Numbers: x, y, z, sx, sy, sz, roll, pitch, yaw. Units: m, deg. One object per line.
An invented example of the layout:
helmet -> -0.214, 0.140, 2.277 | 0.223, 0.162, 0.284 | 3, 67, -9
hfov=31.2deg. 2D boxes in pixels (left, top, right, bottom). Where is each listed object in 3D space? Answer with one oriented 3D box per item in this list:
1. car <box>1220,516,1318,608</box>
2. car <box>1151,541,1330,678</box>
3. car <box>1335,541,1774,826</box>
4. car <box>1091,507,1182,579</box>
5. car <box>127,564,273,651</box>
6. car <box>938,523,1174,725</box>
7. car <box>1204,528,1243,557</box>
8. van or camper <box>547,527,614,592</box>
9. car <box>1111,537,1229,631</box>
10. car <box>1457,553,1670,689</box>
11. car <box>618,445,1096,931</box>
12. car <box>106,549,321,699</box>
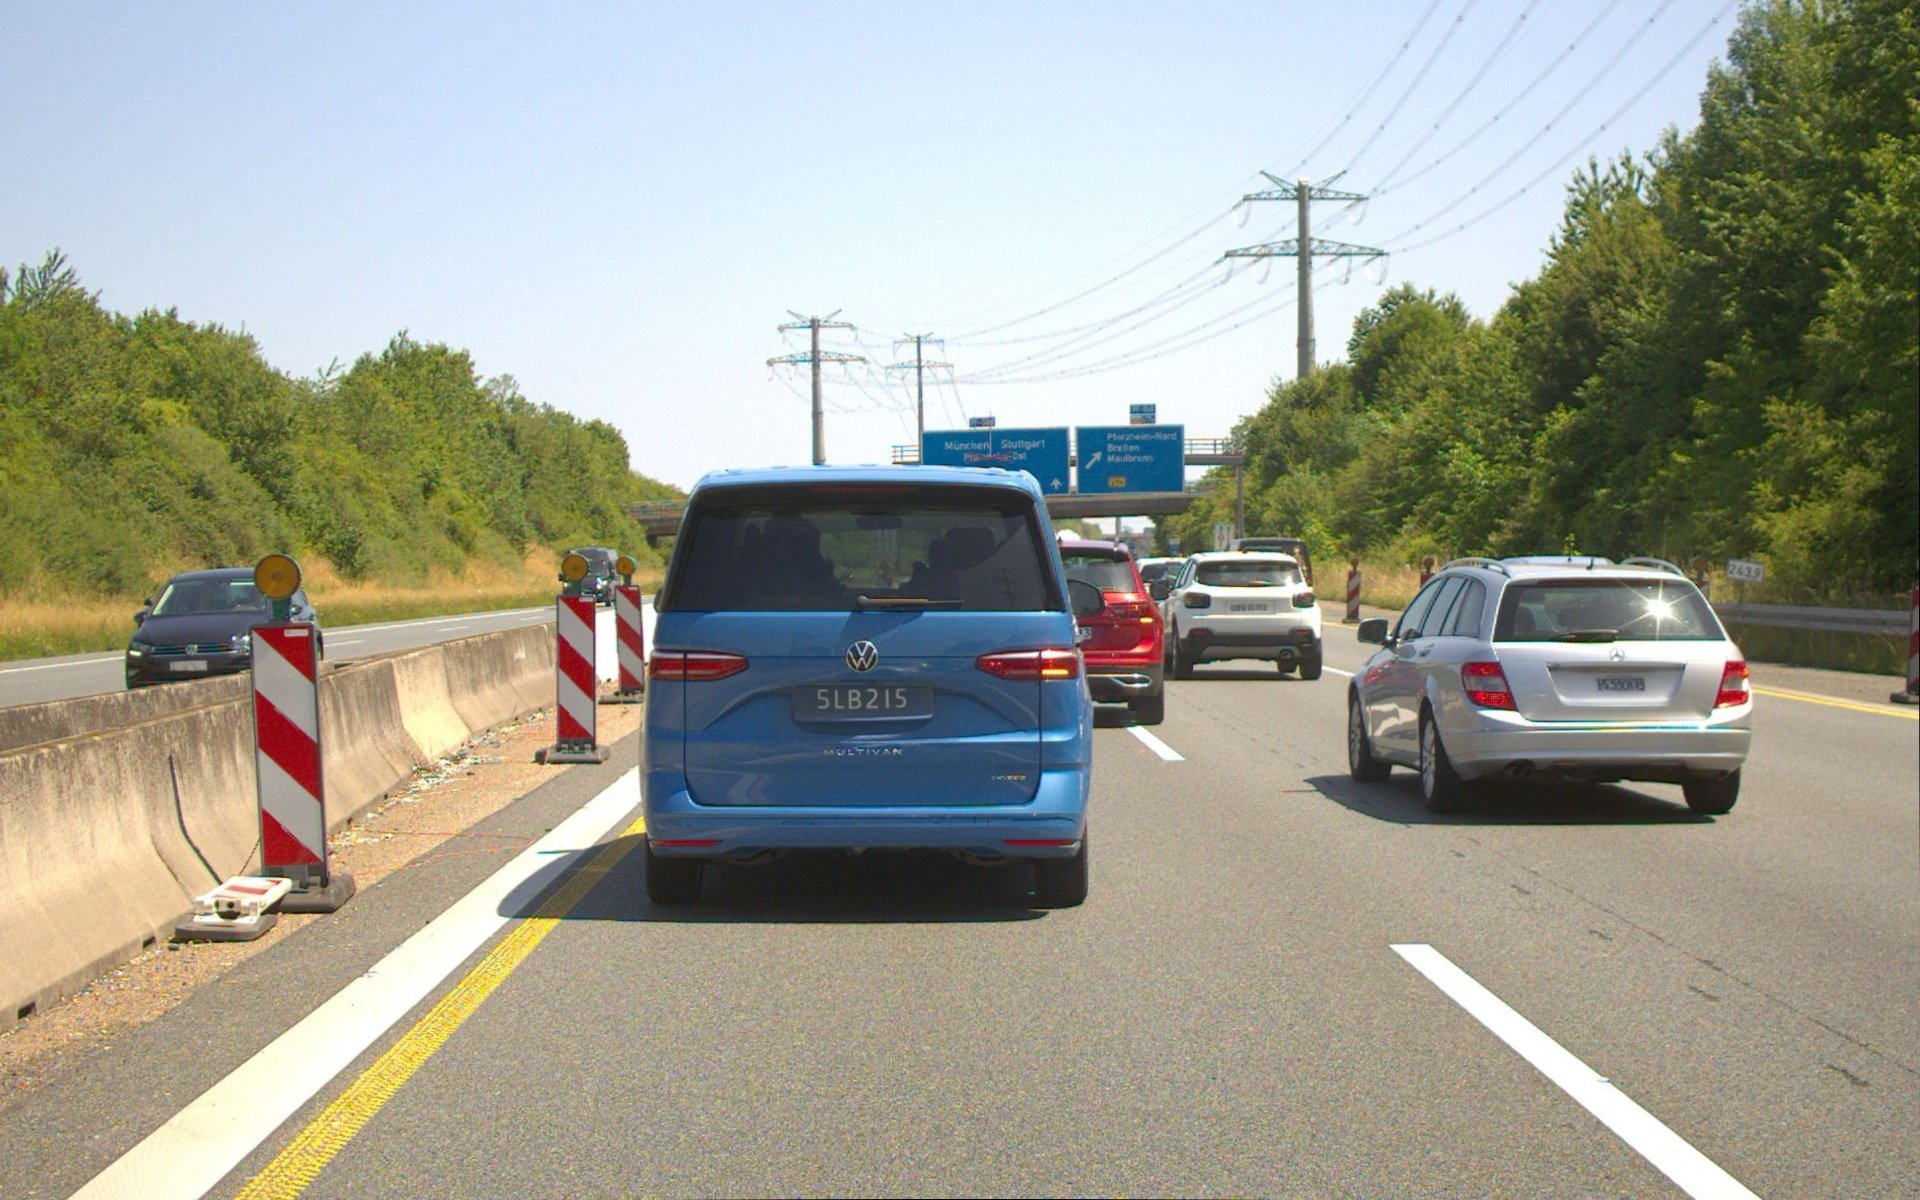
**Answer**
car -> 6.968, -0.861, 77.844 | 1.797, 2.007, 4.227 | 1, 1, 0
car -> 3.411, 0.090, 42.467 | 1.797, 1.588, 4.227 | 1, 1, -1
car -> 3.443, 0.429, 20.711 | 1.770, 1.512, 4.360 | 1, 1, -1
car -> 4.001, -1.293, 78.662 | 1.797, 1.588, 4.227 | 1, 1, -1
car -> -15.977, 0.131, 72.508 | 1.993, 1.644, 4.630 | -3, 1, 0
car -> 0.793, 0.177, 31.052 | 1.874, 1.665, 4.360 | 1, 1, -1
car -> 15.656, -3.426, 204.489 | 1.874, 1.665, 4.360 | 1, 1, -1
van or camper -> -16.591, -1.771, 150.755 | 2.222, 2.701, 7.081 | -3, 1, -2
car -> 3.719, -0.297, 61.531 | 1.797, 1.588, 4.227 | 1, 1, -1
car -> 6.799, 0.208, 39.087 | 1.701, 1.443, 3.788 | 1, 1, -1
car -> -0.463, 0.328, 15.864 | 1.874, 1.905, 4.360 | 1, 1, -1
car -> -8.957, 0.257, 41.548 | 1.773, 1.693, 4.171 | 1, 1, -1
